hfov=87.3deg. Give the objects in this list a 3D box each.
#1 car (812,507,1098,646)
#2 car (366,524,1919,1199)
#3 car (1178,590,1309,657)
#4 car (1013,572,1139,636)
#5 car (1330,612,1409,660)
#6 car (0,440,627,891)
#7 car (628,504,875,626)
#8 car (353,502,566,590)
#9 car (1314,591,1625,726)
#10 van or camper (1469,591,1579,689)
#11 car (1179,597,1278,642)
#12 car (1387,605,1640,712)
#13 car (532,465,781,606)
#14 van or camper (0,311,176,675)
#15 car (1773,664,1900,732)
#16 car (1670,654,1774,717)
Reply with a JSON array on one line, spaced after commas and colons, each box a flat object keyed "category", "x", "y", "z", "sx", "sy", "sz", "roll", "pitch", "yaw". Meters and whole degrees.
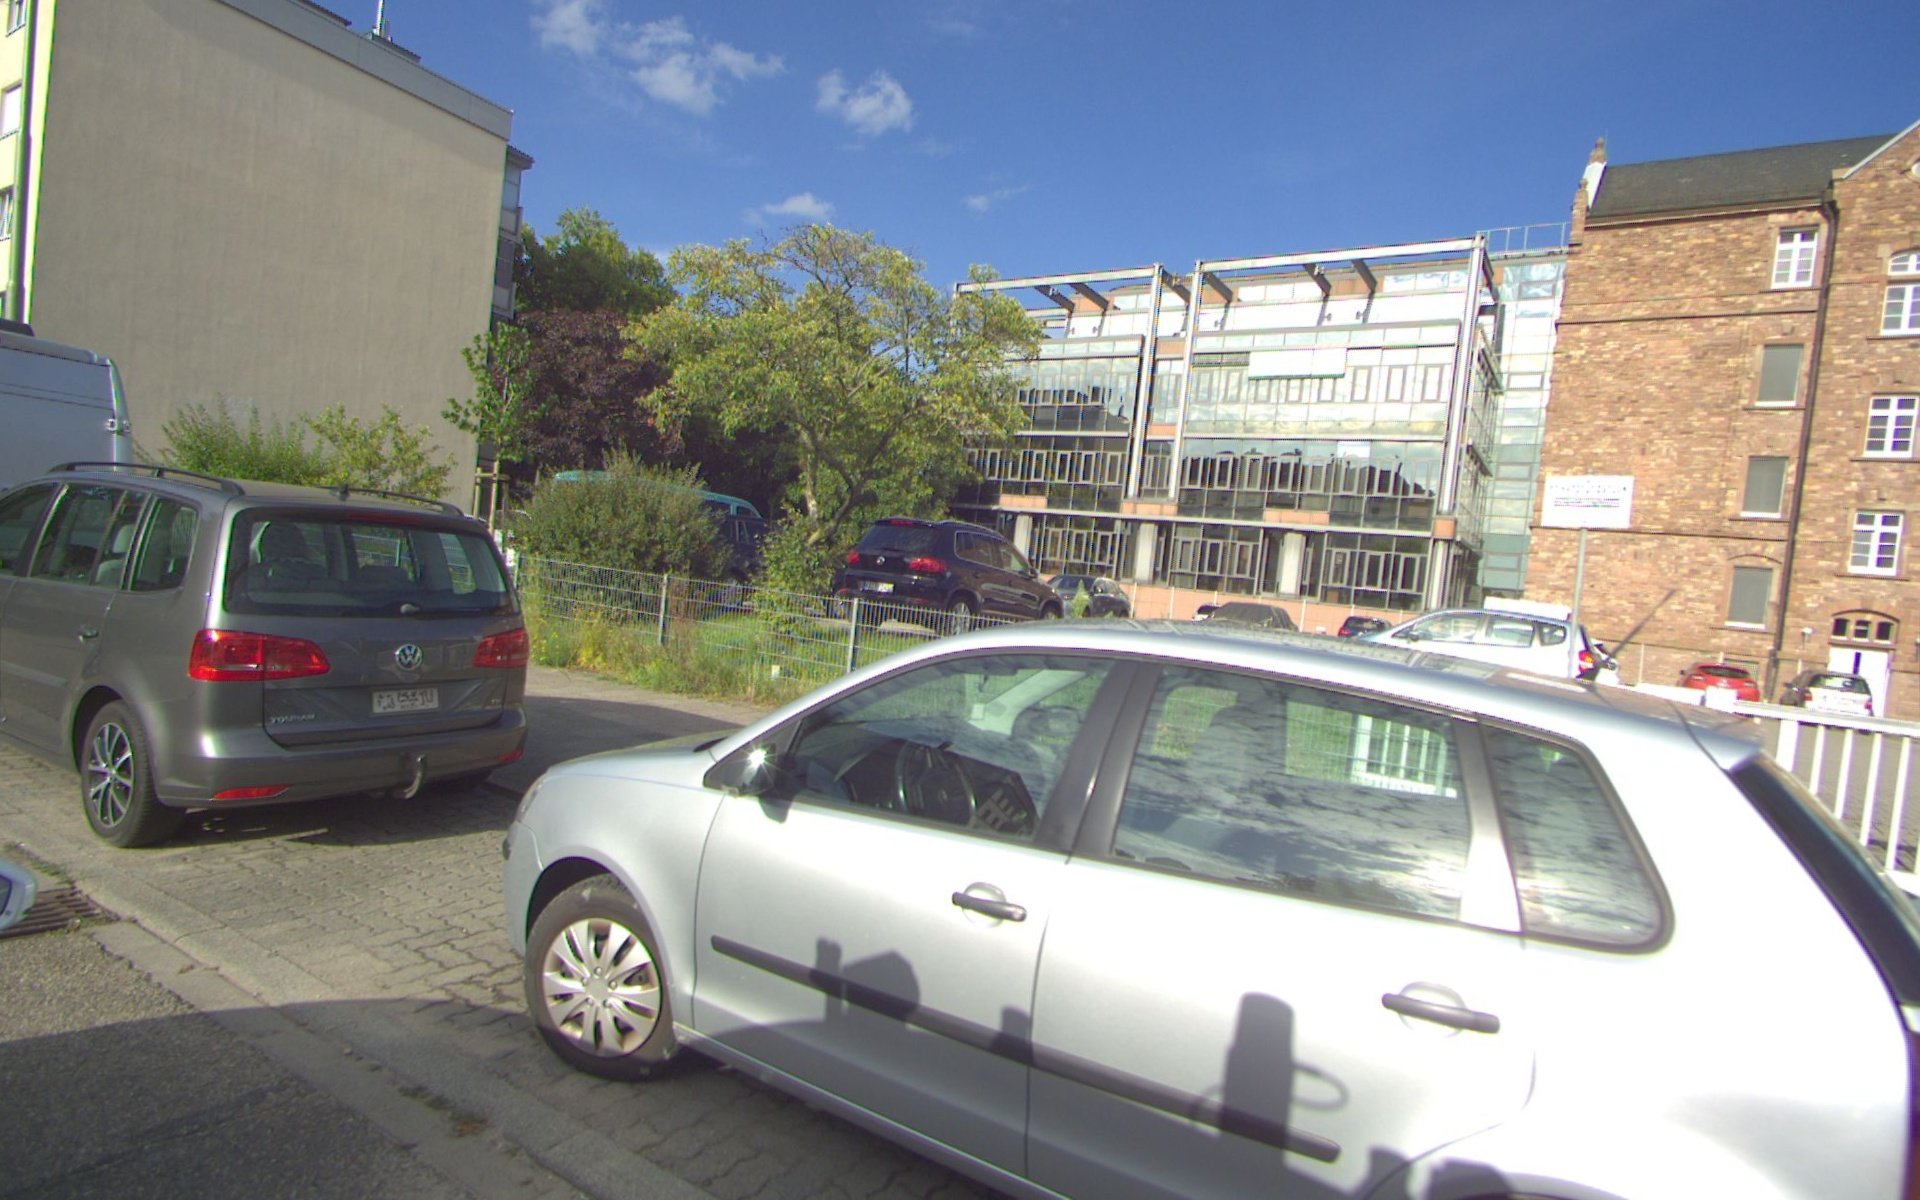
[{"category": "car", "x": 0.100, "y": -0.257, "z": 15.012, "sx": 1.968, "sy": 1.643, "sz": 4.446, "roll": 7, "pitch": 2, "yaw": 35}, {"category": "car", "x": 0.571, "y": 0.733, "z": 2.873, "sx": 4.725, "sy": 1.494, "sz": 2.015, "roll": 6, "pitch": 2, "yaw": 34}, {"category": "car", "x": 7.370, "y": 0.633, "z": 25.882, "sx": 1.969, "sy": 1.326, "sz": 3.988, "roll": 6, "pitch": 0, "yaw": 35}, {"category": "car", "x": 3.362, "y": 0.146, "z": 28.560, "sx": 1.967, "sy": 1.505, "sz": 3.988, "roll": 7, "pitch": 2, "yaw": 31}, {"category": "car", "x": 14.442, "y": 1.218, "z": 35.375, "sx": 1.779, "sy": 1.373, "sz": 4.318, "roll": 7, "pitch": 3, "yaw": 31}, {"category": "car", "x": -4.230, "y": 0.083, "z": 5.668, "sx": 4.332, "sy": 1.637, "sz": 1.995, "roll": 7, "pitch": 2, "yaw": 29}, {"category": "car", "x": -3.648, "y": -0.569, "z": 18.174, "sx": 1.969, "sy": 1.761, "sz": 3.984, "roll": 7, "pitch": 2, "yaw": 36}, {"category": "car", "x": -11.739, "y": -1.236, "z": 23.784, "sx": 1.970, "sy": 1.606, "sz": 3.983, "roll": 7, "pitch": 2, "yaw": 37}, {"category": "car", "x": 7.771, "y": 0.822, "z": 15.563, "sx": 3.932, "sy": 1.461, "sz": 1.995, "roll": 7, "pitch": 2, "yaw": 30}, {"category": "van or camper", "x": 17.806, "y": 1.236, "z": 31.724, "sx": 2.552, "sy": 2.590, "sz": 5.242, "roll": 7, "pitch": 2, "yaw": 31}, {"category": "car", "x": 10.096, "y": 0.745, "z": 37.599, "sx": 1.784, "sy": 1.398, "sz": 4.308, "roll": 8, "pitch": 3, "yaw": 40}, {"category": "car", "x": 10.431, "y": 1.047, "z": 19.291, "sx": 3.929, "sy": 1.461, "sz": 1.997, "roll": 7, "pitch": 2, "yaw": 25}, {"category": "car", "x": -5.728, "y": -1.172, "z": 19.397, "sx": 1.969, "sy": 2.215, "sz": 4.116, "roll": 7, "pitch": 2, "yaw": 36}, {"category": "van or camper", "x": -9.312, "y": -1.033, "z": 8.517, "sx": 5.279, "sy": 2.642, "sz": 2.211, "roll": 7, "pitch": 2, "yaw": 29}, {"category": "car", "x": 24.620, "y": 2.703, "z": 28.419, "sx": 1.967, "sy": 1.461, "sz": 3.987, "roll": 7, "pitch": 2, "yaw": 32}, {"category": "car", "x": 22.418, "y": 2.464, "z": 29.755, "sx": 1.967, "sy": 1.461, "sz": 3.987, "roll": 7, "pitch": 2, "yaw": 32}]
